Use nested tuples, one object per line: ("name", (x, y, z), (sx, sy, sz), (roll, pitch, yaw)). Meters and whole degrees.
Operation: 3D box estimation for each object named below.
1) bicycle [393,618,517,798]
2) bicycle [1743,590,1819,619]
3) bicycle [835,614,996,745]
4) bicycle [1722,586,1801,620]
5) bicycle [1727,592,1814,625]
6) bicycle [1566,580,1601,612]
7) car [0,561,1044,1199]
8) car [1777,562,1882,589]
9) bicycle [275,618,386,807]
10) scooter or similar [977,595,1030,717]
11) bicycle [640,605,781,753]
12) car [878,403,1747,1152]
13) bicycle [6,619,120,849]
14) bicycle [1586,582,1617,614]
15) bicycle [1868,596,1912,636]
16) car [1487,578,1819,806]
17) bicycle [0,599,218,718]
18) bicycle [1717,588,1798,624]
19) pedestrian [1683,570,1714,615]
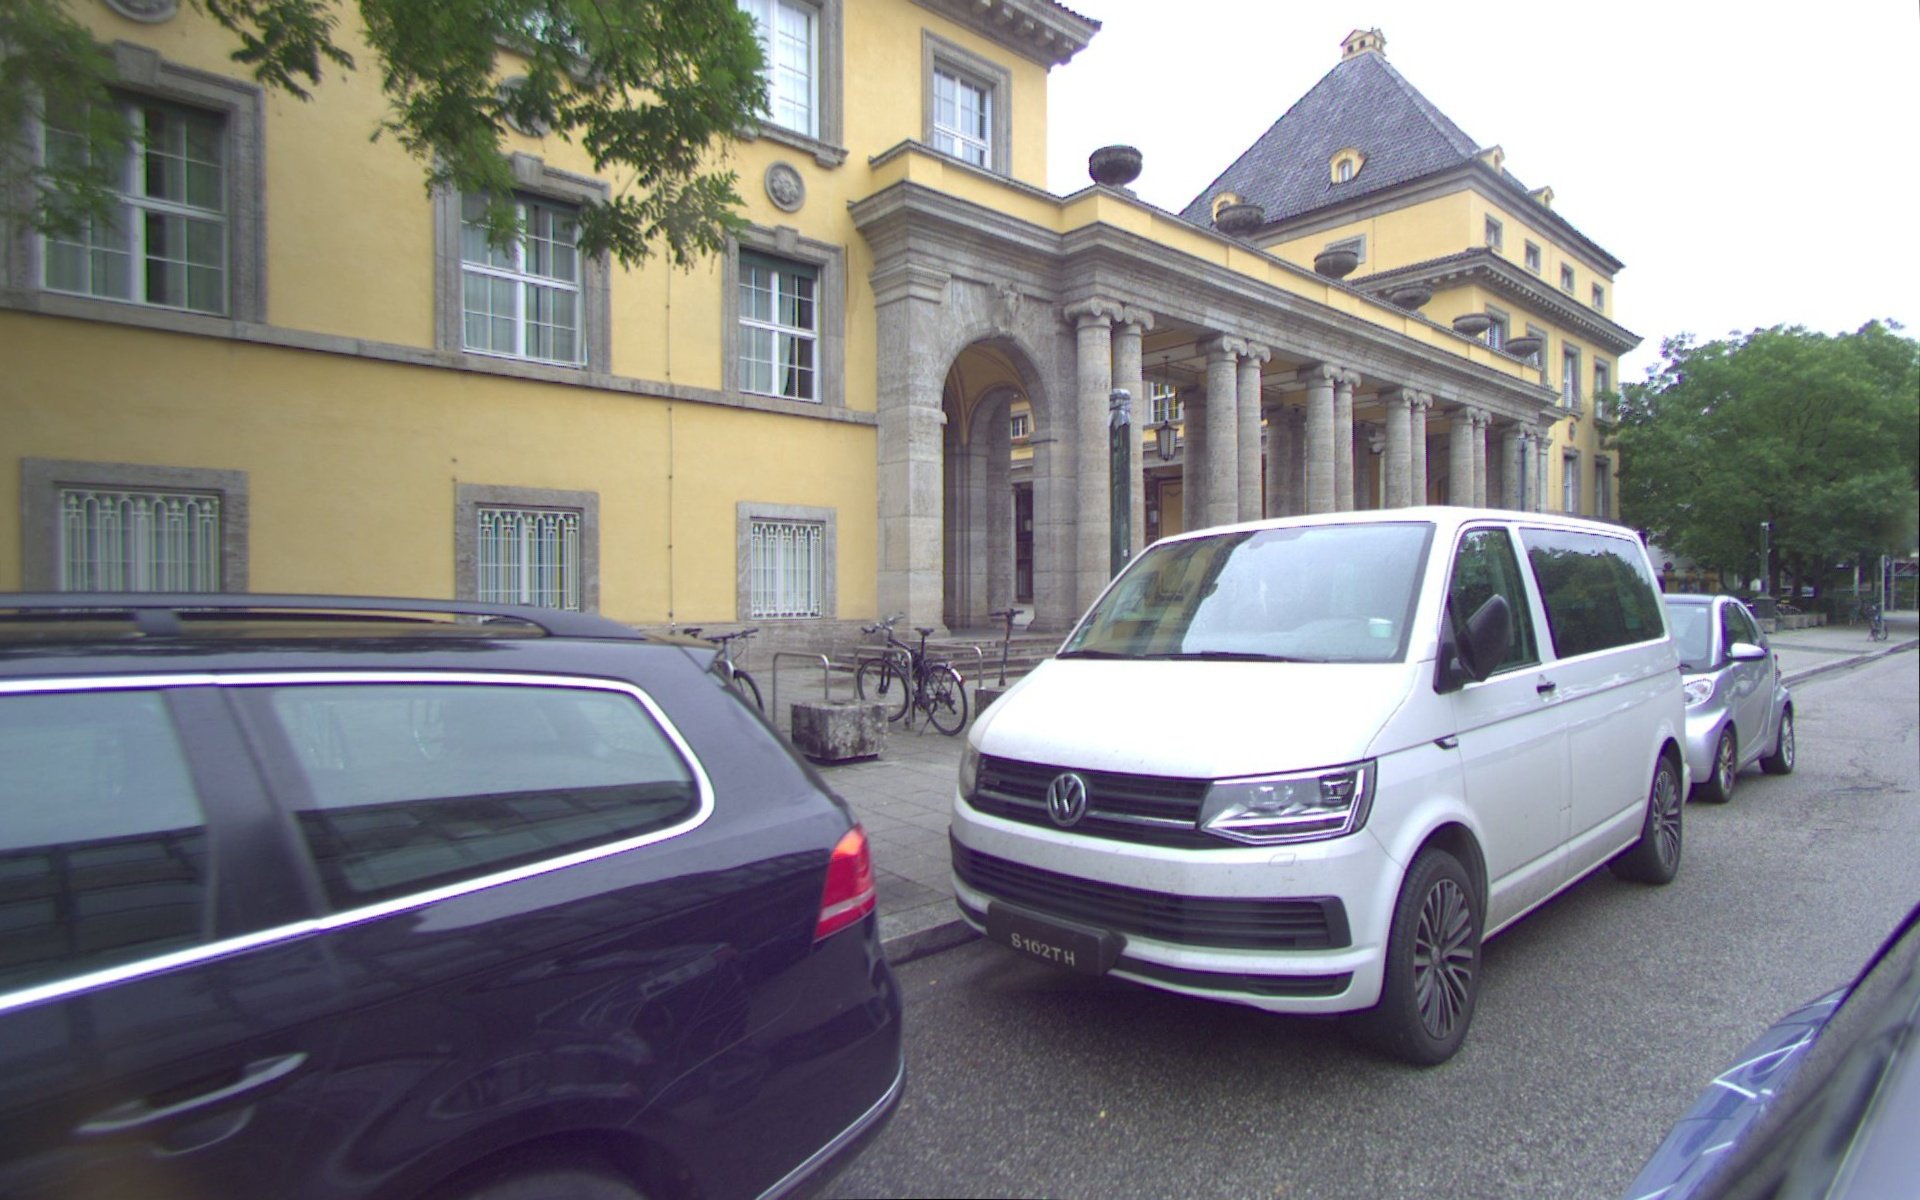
("bicycle", (-3.911, 0.750, 7.755), (0.463, 1.127, 1.936), (0, 2, -38))
("bicycle", (32.853, 0.178, 40.529), (0.591, 1.023, 2.263), (1, 2, -38))
("bicycle", (-0.493, 0.743, 10.200), (0.463, 1.127, 1.934), (0, 2, -43))
("bicycle", (30.536, 0.089, 38.603), (2.254, 1.071, 0.593), (7, 6, 38))
("bicycle", (28.869, 0.277, 36.067), (2.360, 1.018, 0.668), (4, 3, 41))
("bicycle", (25.911, -0.178, 42.050), (2.225, 1.323, 0.601), (-1, 1, -42))
("car", (-2.191, 0.747, 1.223), (4.891, 1.509, 1.772), (-1, -2, -44))
("car", (55.575, -1.582, 64.770), (1.934, 1.702, 4.901), (-1, 2, -43))
("bicycle", (-4.665, 0.747, 7.444), (0.463, 1.127, 1.936), (0, 2, -39))
("scooter or similar", (0.479, 0.579, 11.016), (0.528, 1.237, 1.011), (1, 1, 4))
("bicycle", (-2.293, 0.649, 9.121), (0.463, 1.127, 1.936), (0, 2, -38))
("car", (2.222, 0.464, 5.104), (5.183, 1.958, 1.847), (-1, -2, -43))
("bicycle", (-5.589, 0.730, 6.272), (0.463, 1.127, 2.033), (0, 2, -43))
("bicycle", (27.640, -0.091, 43.593), (2.128, 1.323, 0.601), (-1, 1, -42))
("bicycle", (28.288, 0.474, 30.768), (2.225, 1.114, 0.761), (-1, 3, -42))
("car", (5.893, 0.637, 8.525), (2.883, 1.566, 1.607), (-1, -1, -41))
("bicycle", (-9.078, 0.578, 10.759), (1.869, 1.169, 0.543), (0, 1, -43))
("bicycle", (29.344, 0.206, 37.283), (2.254, 1.107, 0.593), (7, 6, 38))
("pedestrian", (29.278, -0.296, 40.121), (1.038, 1.768, 0.789), (-1, 1, -42))
